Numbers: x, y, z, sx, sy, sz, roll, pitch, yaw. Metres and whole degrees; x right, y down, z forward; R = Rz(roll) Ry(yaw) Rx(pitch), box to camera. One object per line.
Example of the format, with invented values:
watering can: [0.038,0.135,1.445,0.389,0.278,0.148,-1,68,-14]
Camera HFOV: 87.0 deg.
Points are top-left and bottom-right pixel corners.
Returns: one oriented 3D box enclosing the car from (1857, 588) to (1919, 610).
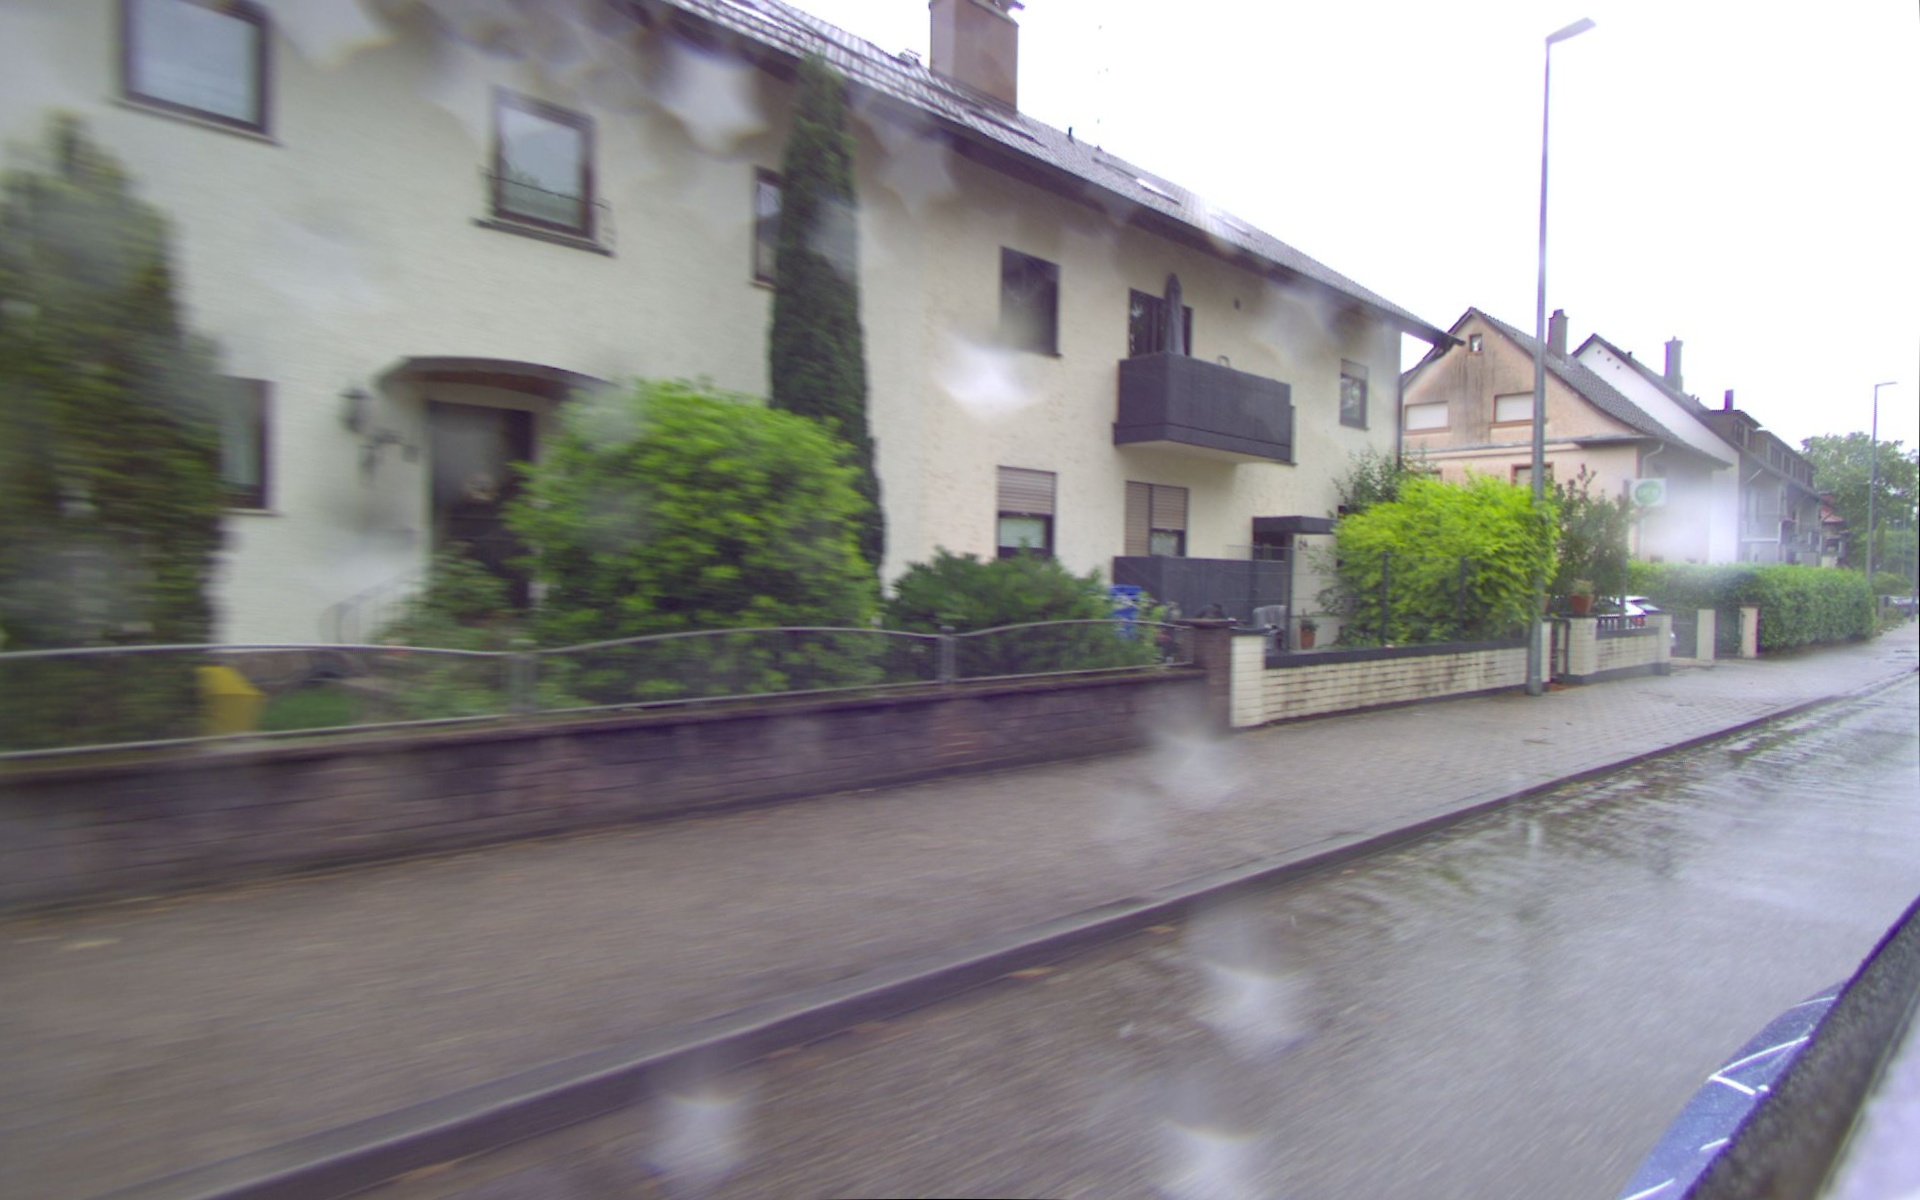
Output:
car: [63.340,-0.094,67.903,1.879,1.381,4.391,-1,1,-12]

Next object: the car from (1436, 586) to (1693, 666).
car: [12.270,0.517,20.749,1.673,1.464,4.225,0,-1,-42]
